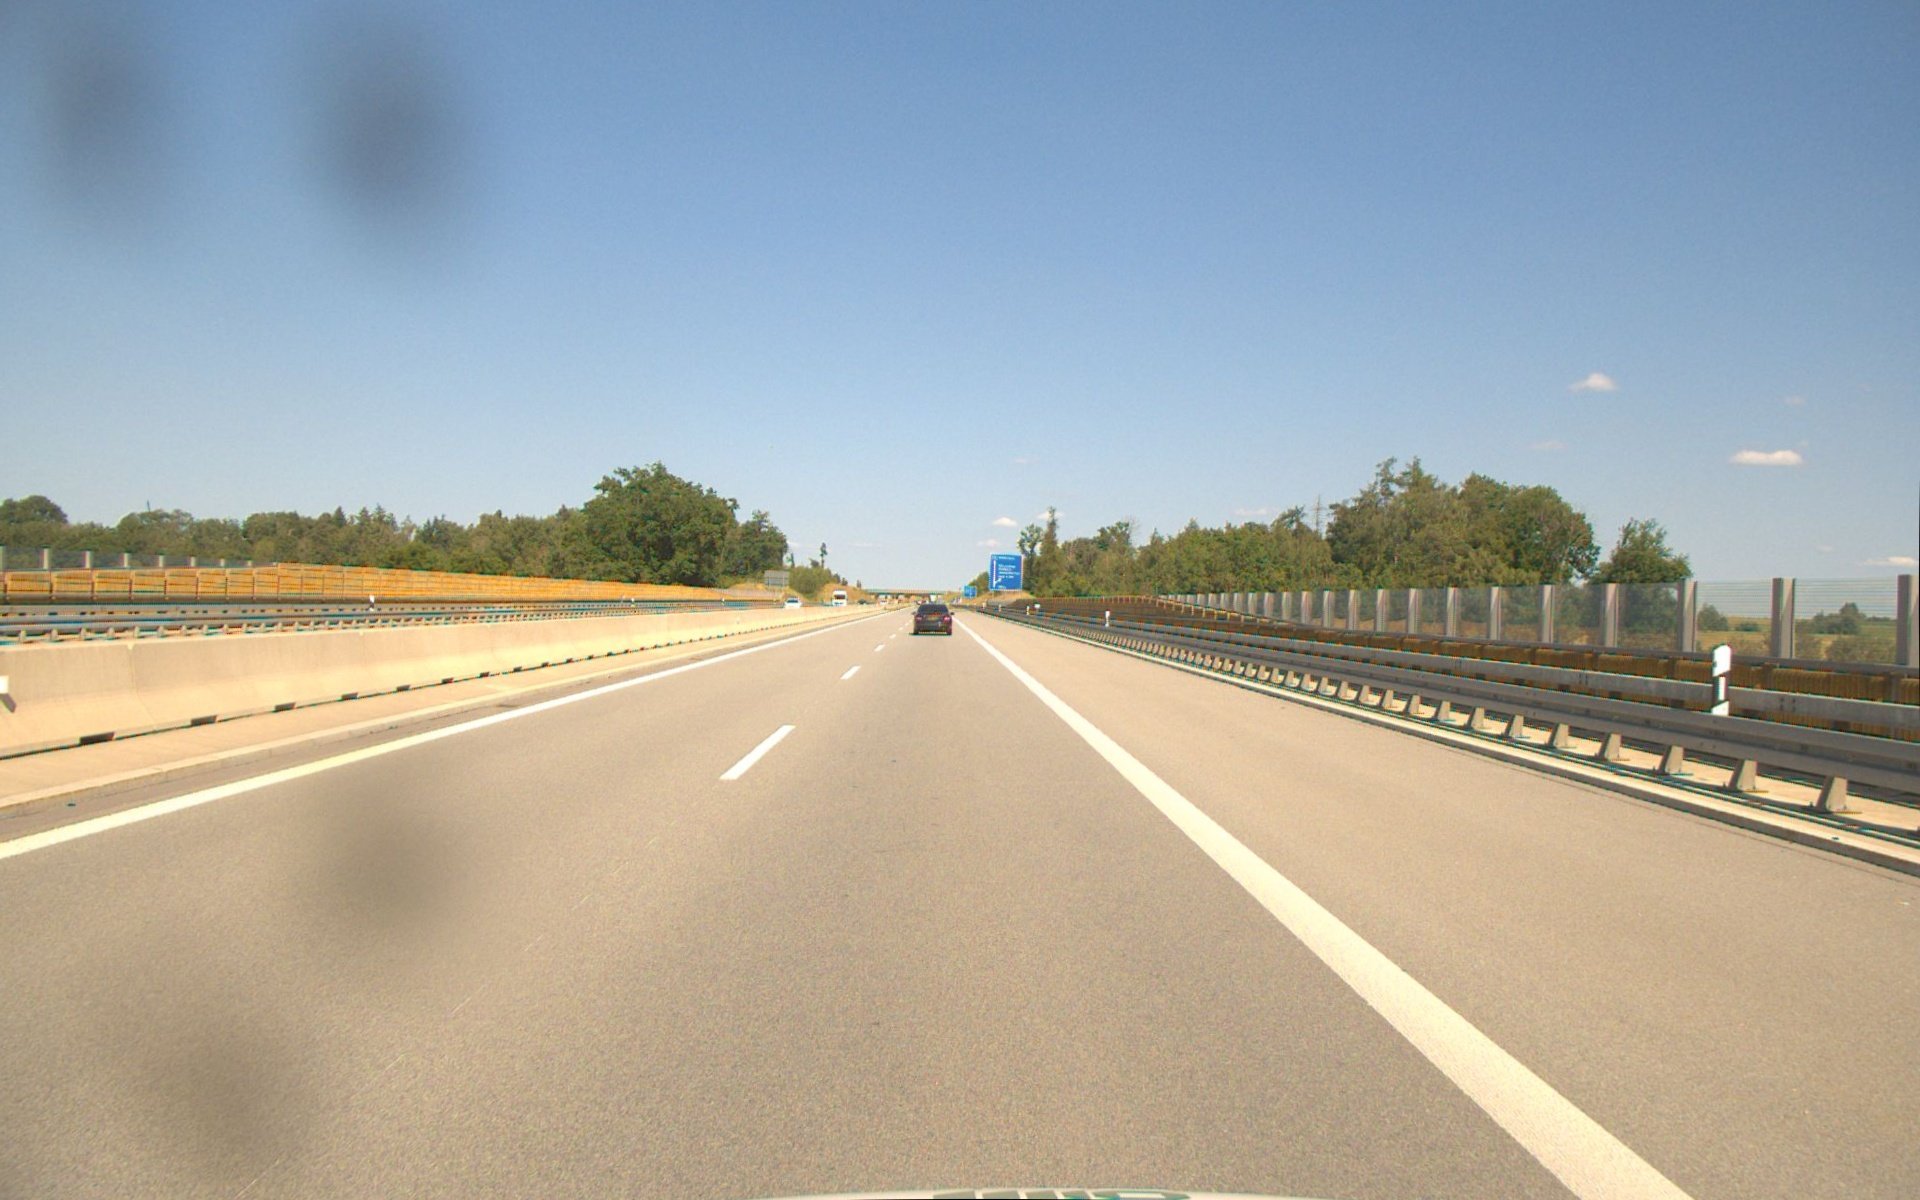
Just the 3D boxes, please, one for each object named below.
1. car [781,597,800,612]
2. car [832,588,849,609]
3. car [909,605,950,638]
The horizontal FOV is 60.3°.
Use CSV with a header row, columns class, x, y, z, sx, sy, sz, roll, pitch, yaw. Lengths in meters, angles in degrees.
class,x,y,z,sx,sy,sz,roll,pitch,yaw
car,-17.851,0.519,174.479,1.614,1.535,4.331,1,0,-1
car,-16.471,-0.208,228.158,1.982,2.717,6.484,1,0,-2
car,-1.363,0.961,74.219,1.753,1.398,3.916,1,0,-1
